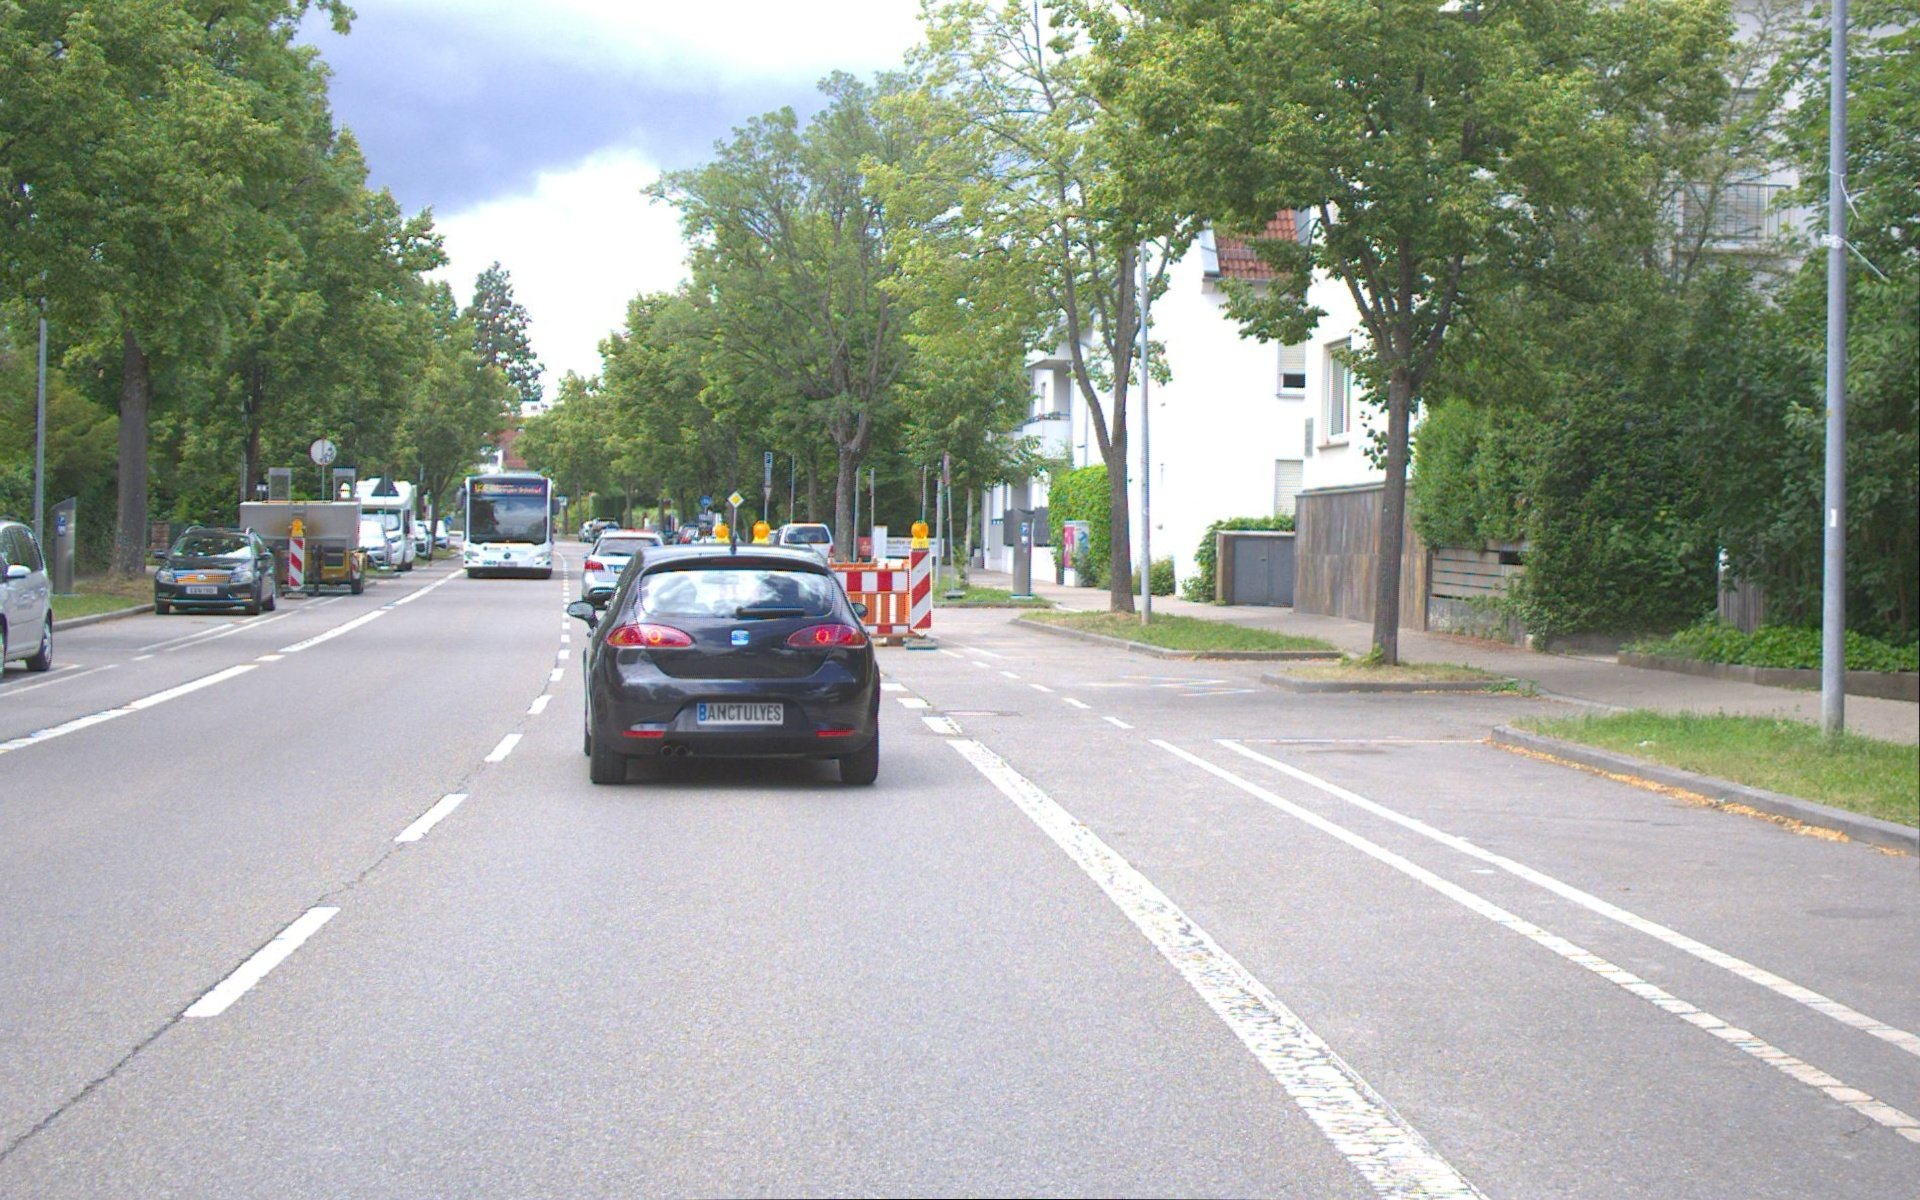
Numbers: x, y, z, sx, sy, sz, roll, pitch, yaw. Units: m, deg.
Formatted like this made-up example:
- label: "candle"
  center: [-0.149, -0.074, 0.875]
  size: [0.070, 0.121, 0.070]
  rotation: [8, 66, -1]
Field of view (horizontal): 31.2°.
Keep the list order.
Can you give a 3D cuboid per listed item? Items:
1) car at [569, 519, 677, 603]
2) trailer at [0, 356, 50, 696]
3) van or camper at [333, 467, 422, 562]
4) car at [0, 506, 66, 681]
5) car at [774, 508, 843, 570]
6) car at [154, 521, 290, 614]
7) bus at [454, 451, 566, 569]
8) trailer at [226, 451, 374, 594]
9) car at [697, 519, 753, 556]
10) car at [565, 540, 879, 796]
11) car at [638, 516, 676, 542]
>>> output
- label: "car"
  center: [-6.464, -0.768, 66.316]
  size: [1.993, 1.552, 4.001]
  rotation: [1, 1, -5]
- label: "trailer"
  center: [-9.473, -0.609, 28.109]
  size: [2.372, 2.953, 7.011]
  rotation: [0, 1, -1]
- label: "van or camper"
  center: [-19.075, -2.807, 112.906]
  size: [2.434, 2.999, 7.695]
  rotation: [0, 1, -6]
- label: "car"
  center: [-10.182, -0.091, 34.417]
  size: [1.688, 1.678, 4.226]
  rotation: [1, 1, -5]
- label: "car"
  center: [-4.190, -1.701, 94.597]
  size: [1.632, 1.660, 3.649]
  rotation: [0, 1, -6]
- label: "car"
  center: [-12.989, -0.541, 60.716]
  size: [1.860, 1.548, 4.621]
  rotation: [1, 0, -6]
- label: "bus"
  center: [-13.873, -2.672, 107.103]
  size: [2.804, 3.277, 18.049]
  rotation: [1, 1, -6]
- label: "trailer"
  center: [-14.434, -1.663, 75.633]
  size: [2.673, 2.931, 7.477]
  rotation: [1, 1, -7]
- label: "car"
  center: [-9.467, -2.516, 138.000]
  size: [2.020, 1.438, 5.026]
  rotation: [1, 1, -6]
- label: "car"
  center: [-1.564, 0.363, 21.498]
  size: [1.783, 1.444, 3.559]
  rotation: [1, 1, -7]
- label: "car"
  center: [-17.009, -3.995, 192.812]
  size: [1.682, 1.427, 4.046]
  rotation: [0, 1, -12]
